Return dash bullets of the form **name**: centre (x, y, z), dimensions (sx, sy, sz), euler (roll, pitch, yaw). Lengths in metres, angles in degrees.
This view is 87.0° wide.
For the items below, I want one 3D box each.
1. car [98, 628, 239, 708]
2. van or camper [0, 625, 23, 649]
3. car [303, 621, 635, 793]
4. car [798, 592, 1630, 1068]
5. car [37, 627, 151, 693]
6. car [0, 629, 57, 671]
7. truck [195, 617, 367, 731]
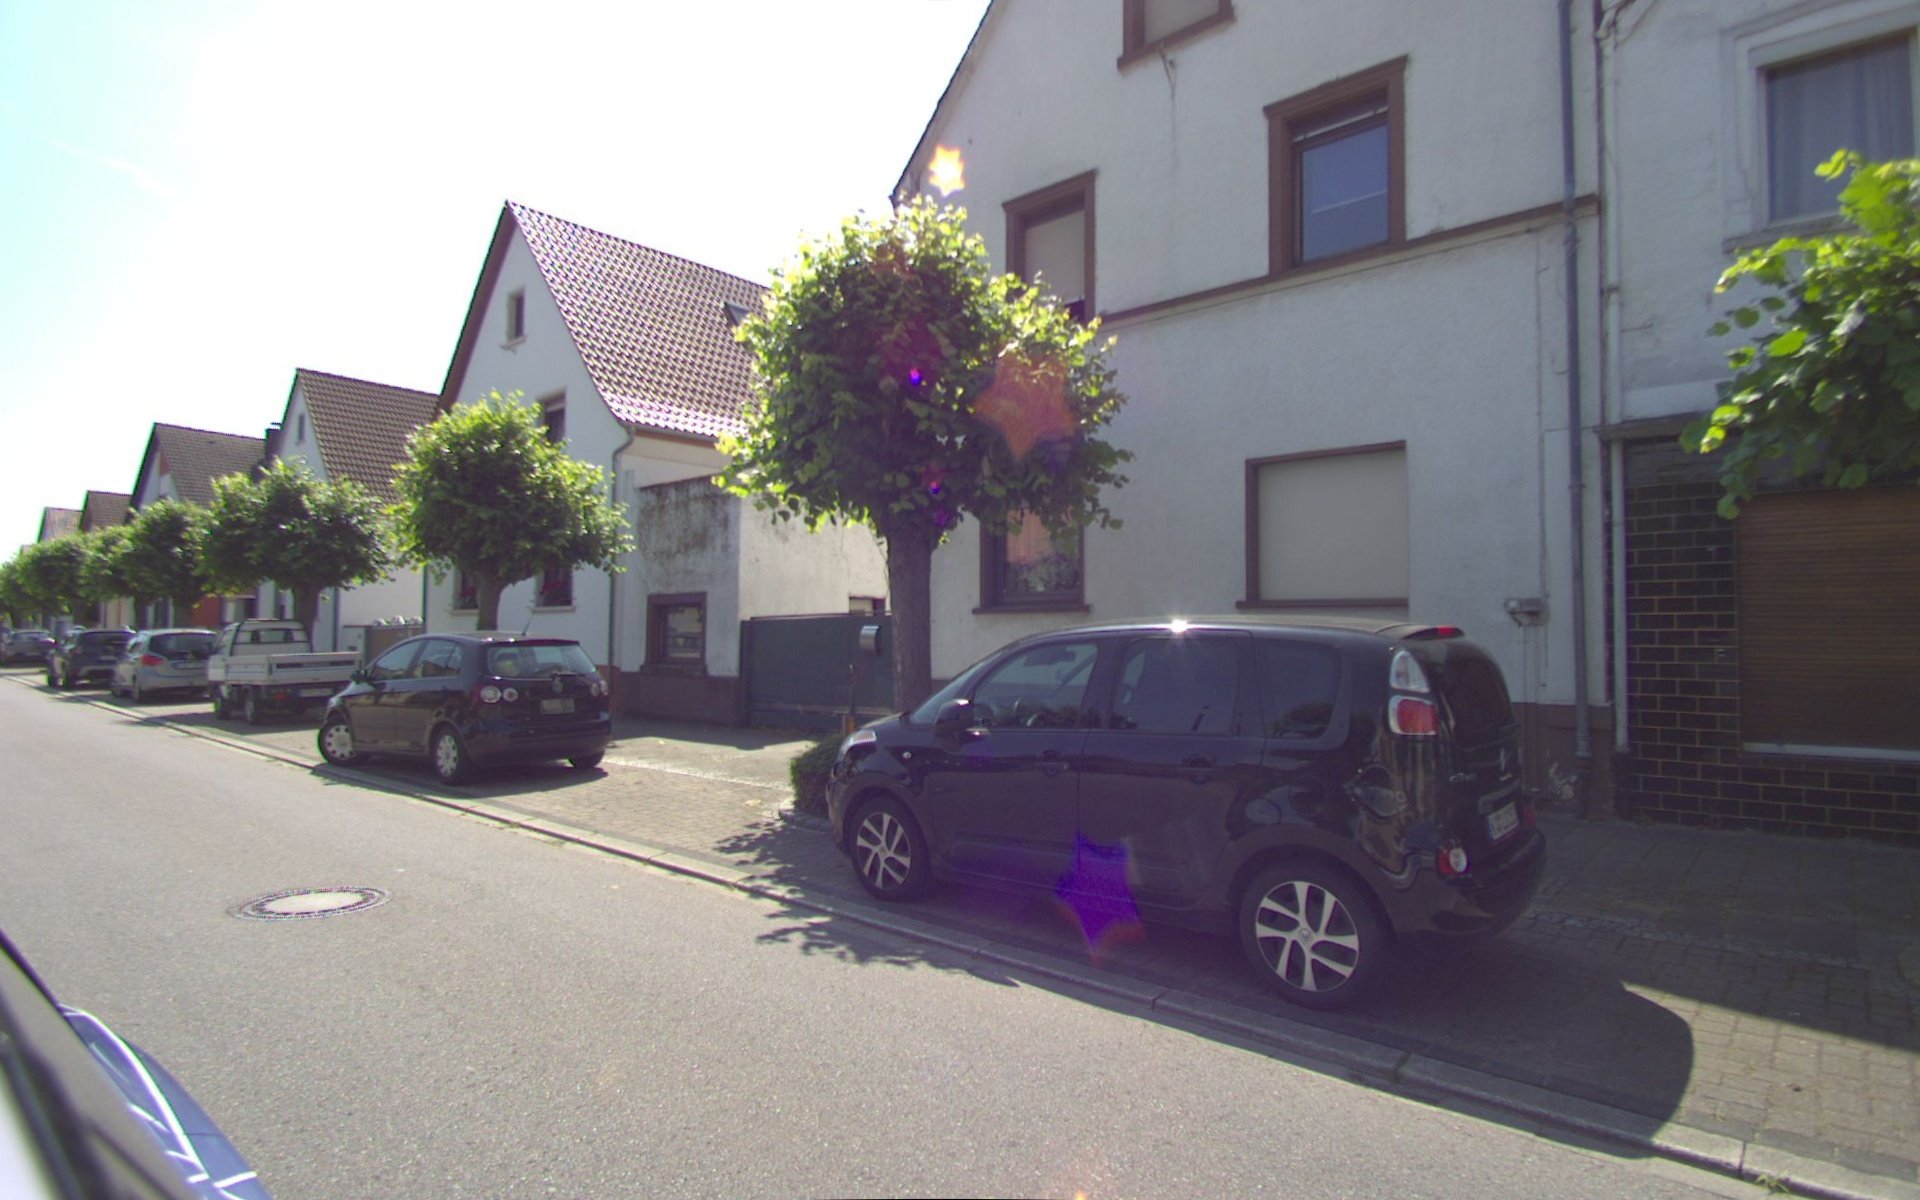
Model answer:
- **car**: centre (-18.359, 1.496, 23.398), dimensions (4.369, 1.625, 1.833), euler (-1, -1, 42)
- **van or camper**: centre (-79.067, 3.032, 81.817), dimensions (1.999, 1.877, 4.691), euler (-3, -2, 40)
- **car**: centre (-5.698, 1.075, 11.598), dimensions (3.992, 1.646, 1.769), euler (-1, -2, 36)
- **car**: centre (1.118, 0.830, 5.561), dimensions (4.055, 1.647, 1.833), euler (-1, -1, 42)
- **car**: centre (-24.053, 1.621, 28.061), dimensions (4.297, 1.649, 1.833), euler (-3, -1, 42)
- **car**: centre (-39.114, 2.055, 42.238), dimensions (4.135, 1.625, 1.832), euler (-2, -1, 44)
- **truck**: centre (-12.167, 1.226, 18.036), dimensions (4.190, 1.778, 1.559), euler (-1, -1, 42)
